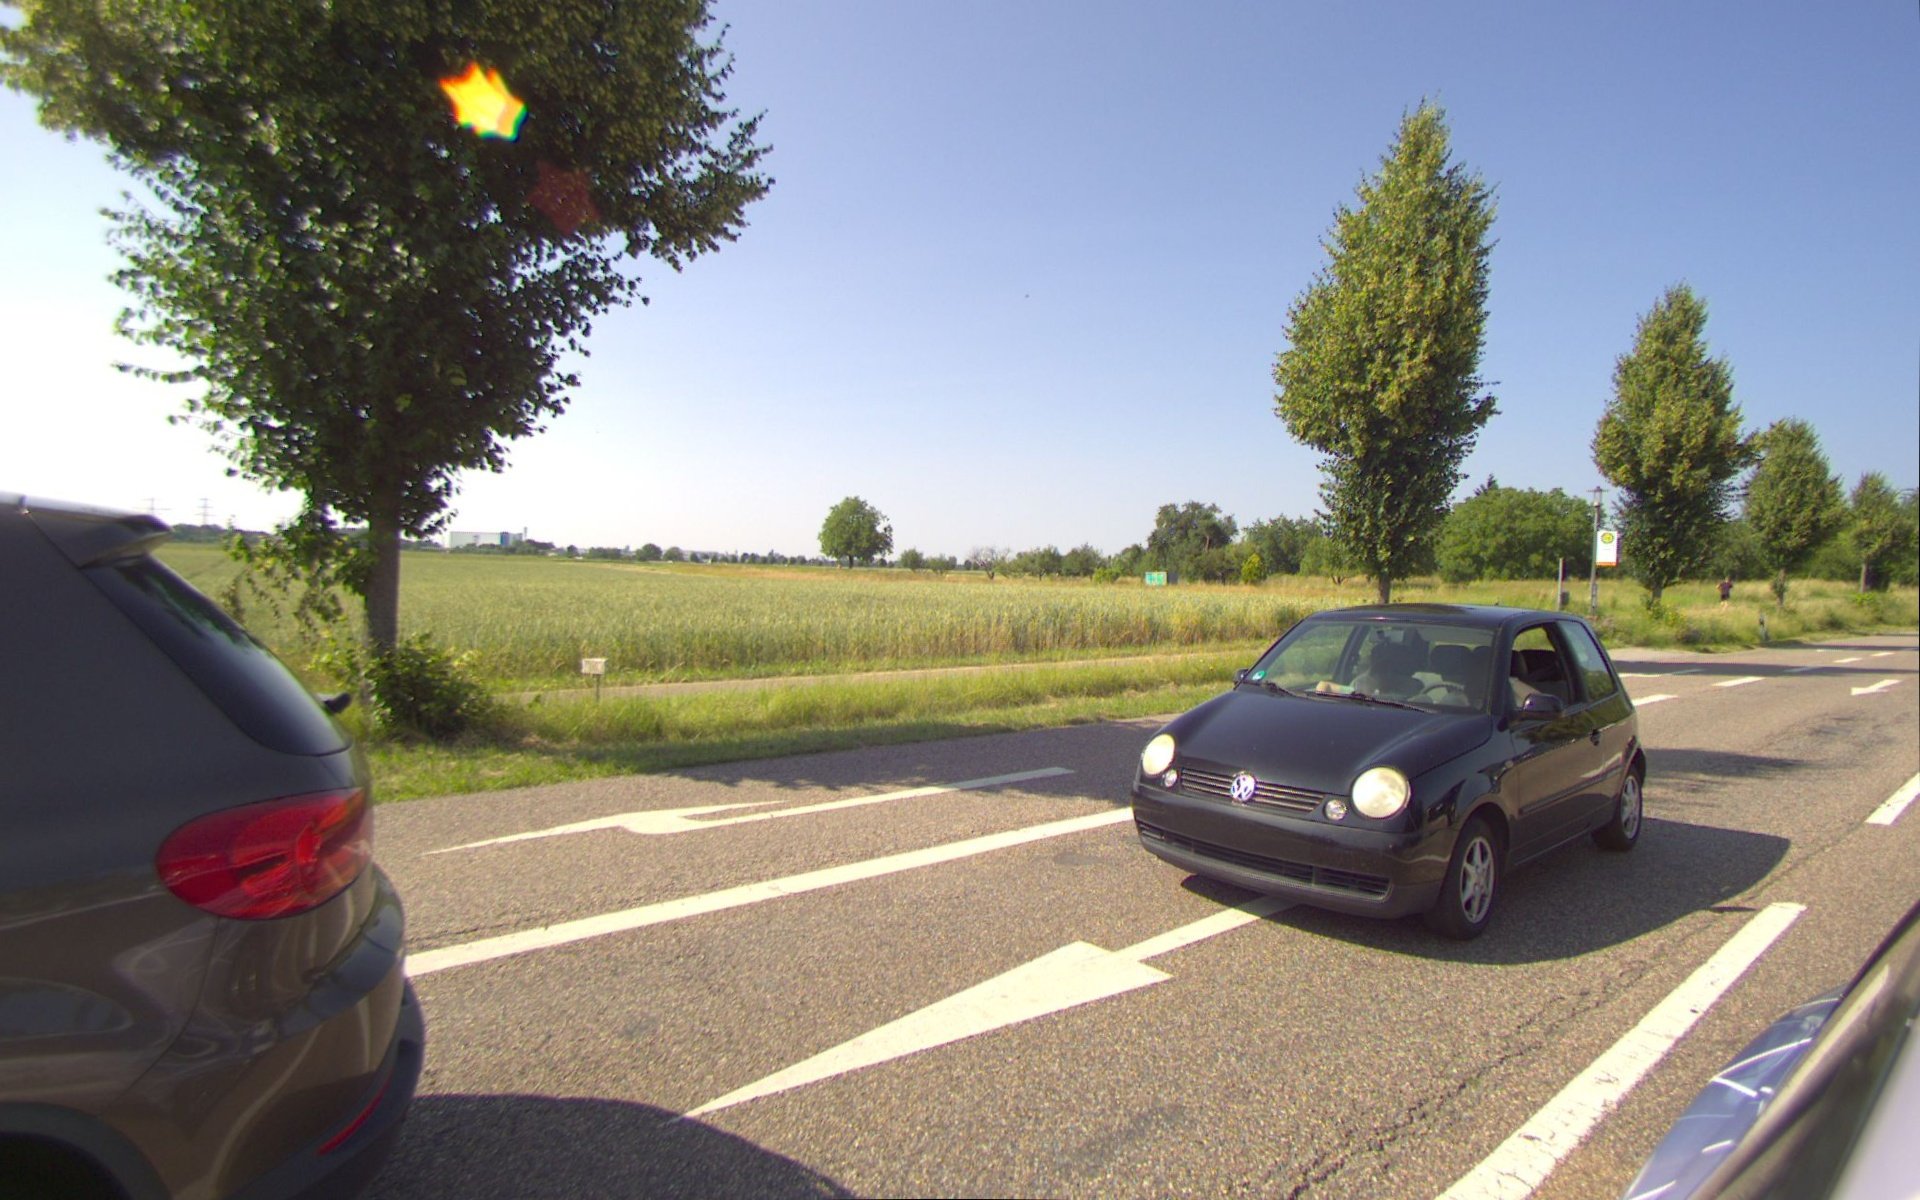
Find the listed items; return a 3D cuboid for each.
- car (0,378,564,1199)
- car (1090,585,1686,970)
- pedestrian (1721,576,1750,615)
[{"bbox_3d":[-2.795,0.551,1.098,4.075,1.676,1.758,0,0,-42],"label":"car"},{"bbox_3d":[2.527,0.659,5.604,3.559,1.451,1.628,0,0,-41],"label":"car"},{"bbox_3d":[38.202,-0.217,49.850,1.175,1.862,0.903,0,2,-43],"label":"pedestrian"}]
